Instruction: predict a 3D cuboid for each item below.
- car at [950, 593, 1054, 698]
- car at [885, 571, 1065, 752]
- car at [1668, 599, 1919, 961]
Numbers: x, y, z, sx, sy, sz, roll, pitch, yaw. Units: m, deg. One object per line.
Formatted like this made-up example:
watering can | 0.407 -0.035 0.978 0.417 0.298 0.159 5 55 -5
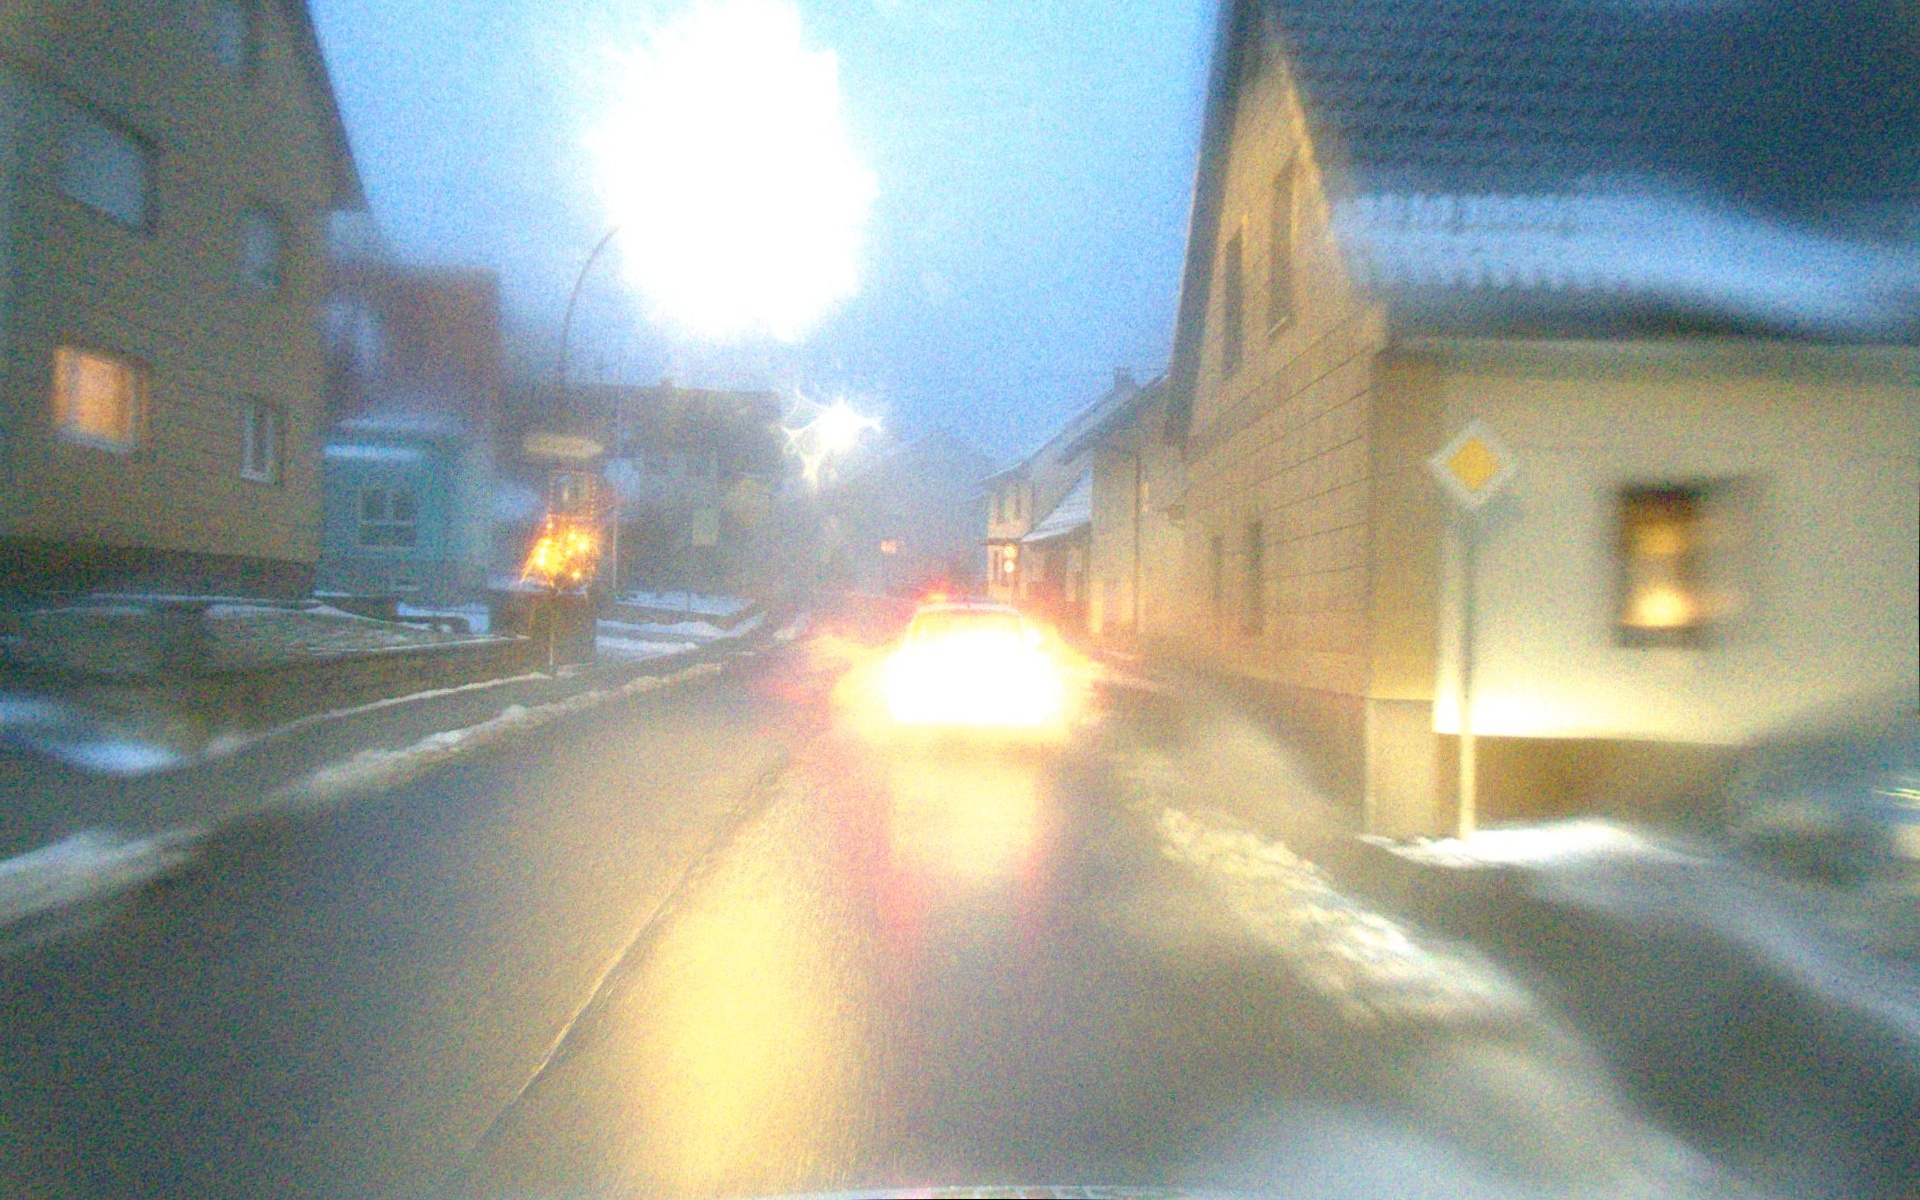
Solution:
car | 0.708 0.775 28.832 1.611 1.624 3.699 3 -1 1
car | 0.187 0.607 17.399 1.611 1.624 3.700 3 -1 1
car | 5.853 0.834 7.912 4.088 1.458 1.899 3 0 -5
